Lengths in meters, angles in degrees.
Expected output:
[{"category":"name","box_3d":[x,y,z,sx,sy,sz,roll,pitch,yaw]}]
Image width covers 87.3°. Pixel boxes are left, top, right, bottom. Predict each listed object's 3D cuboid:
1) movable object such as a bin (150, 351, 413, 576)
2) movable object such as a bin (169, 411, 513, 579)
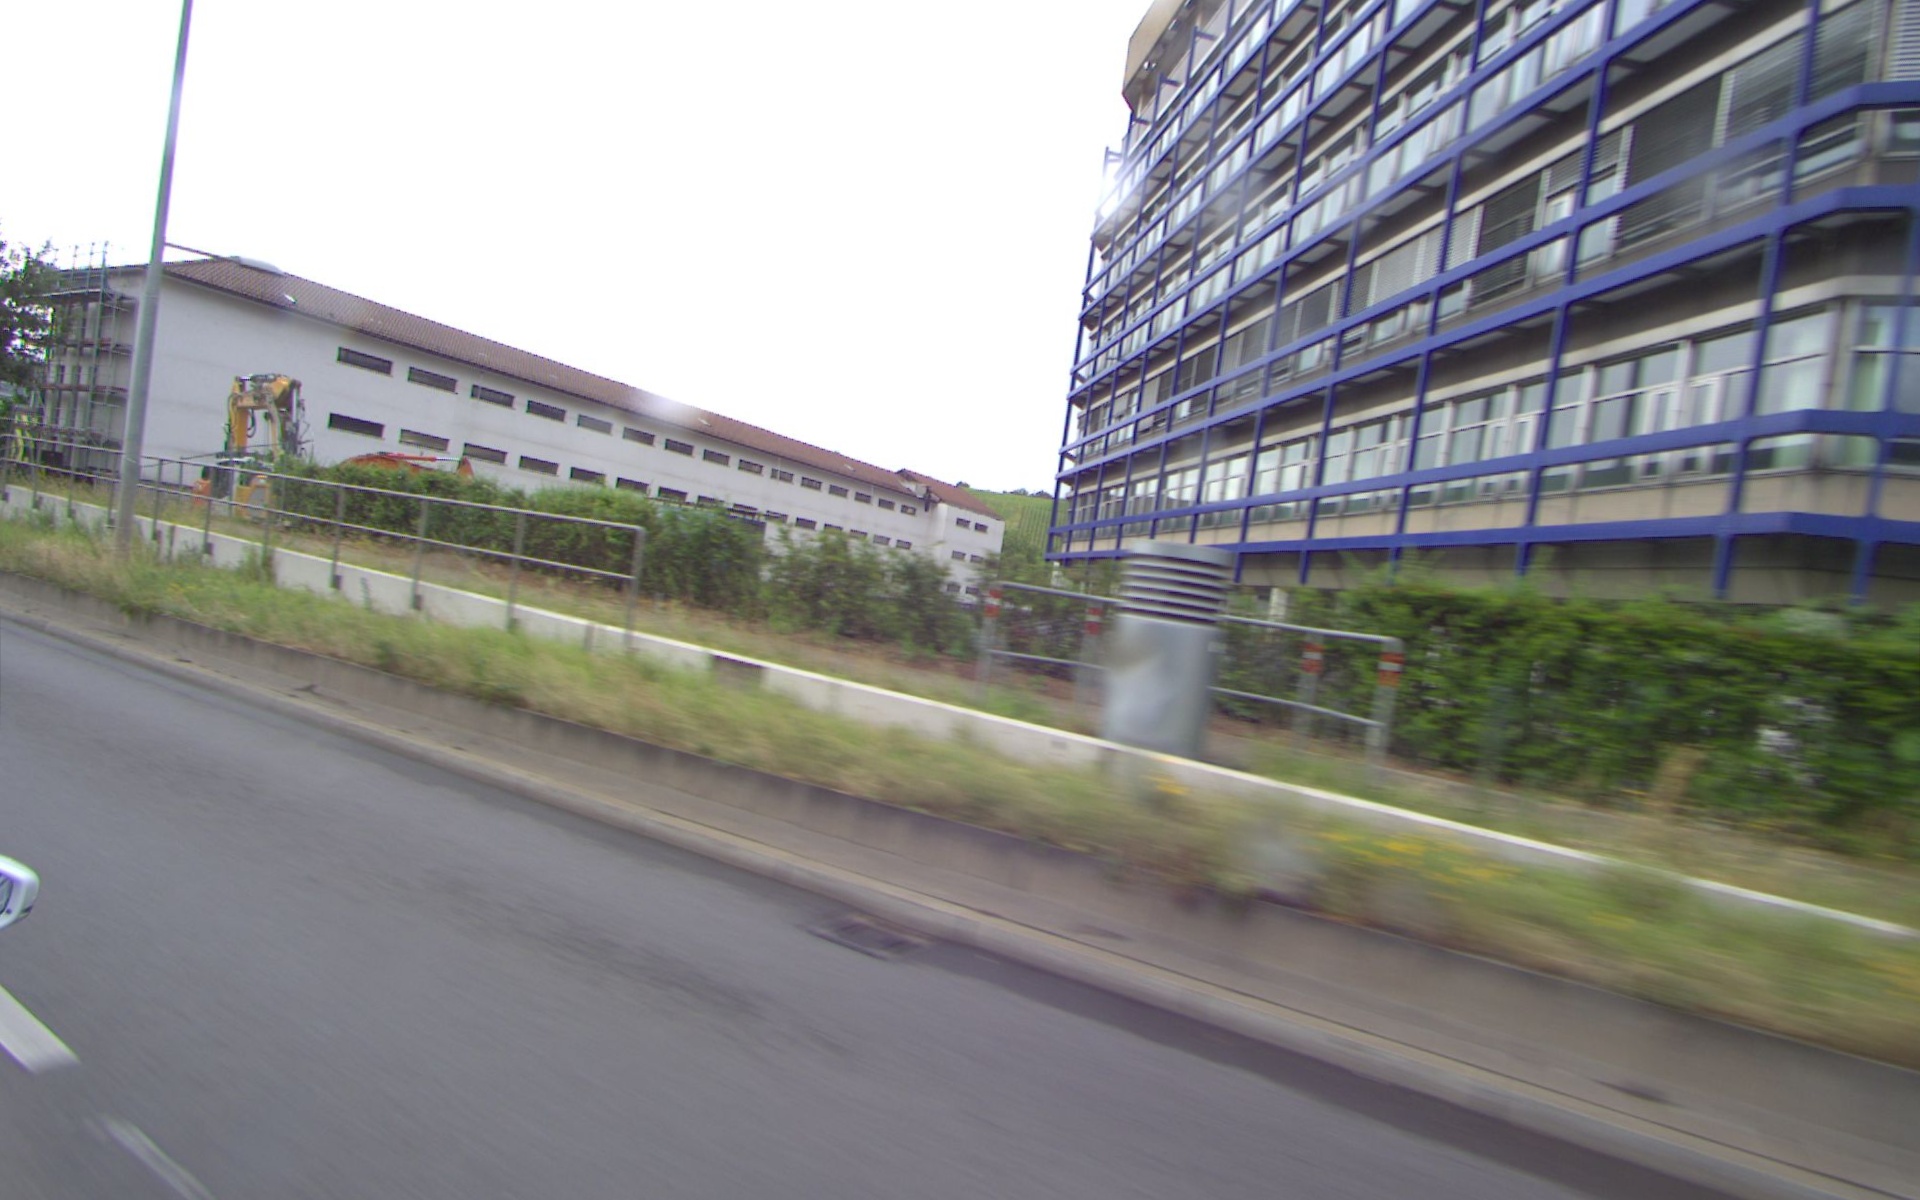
[{"category":"movable object such as a bin","box_3d":[-21.234,-4.108,31.286,8.625,5.749,3.294,6,-2,34]},{"category":"movable object such as a bin","box_3d":[-26.468,-4.223,44.169,3.727,5.325,12.156,6,-1,31]}]
